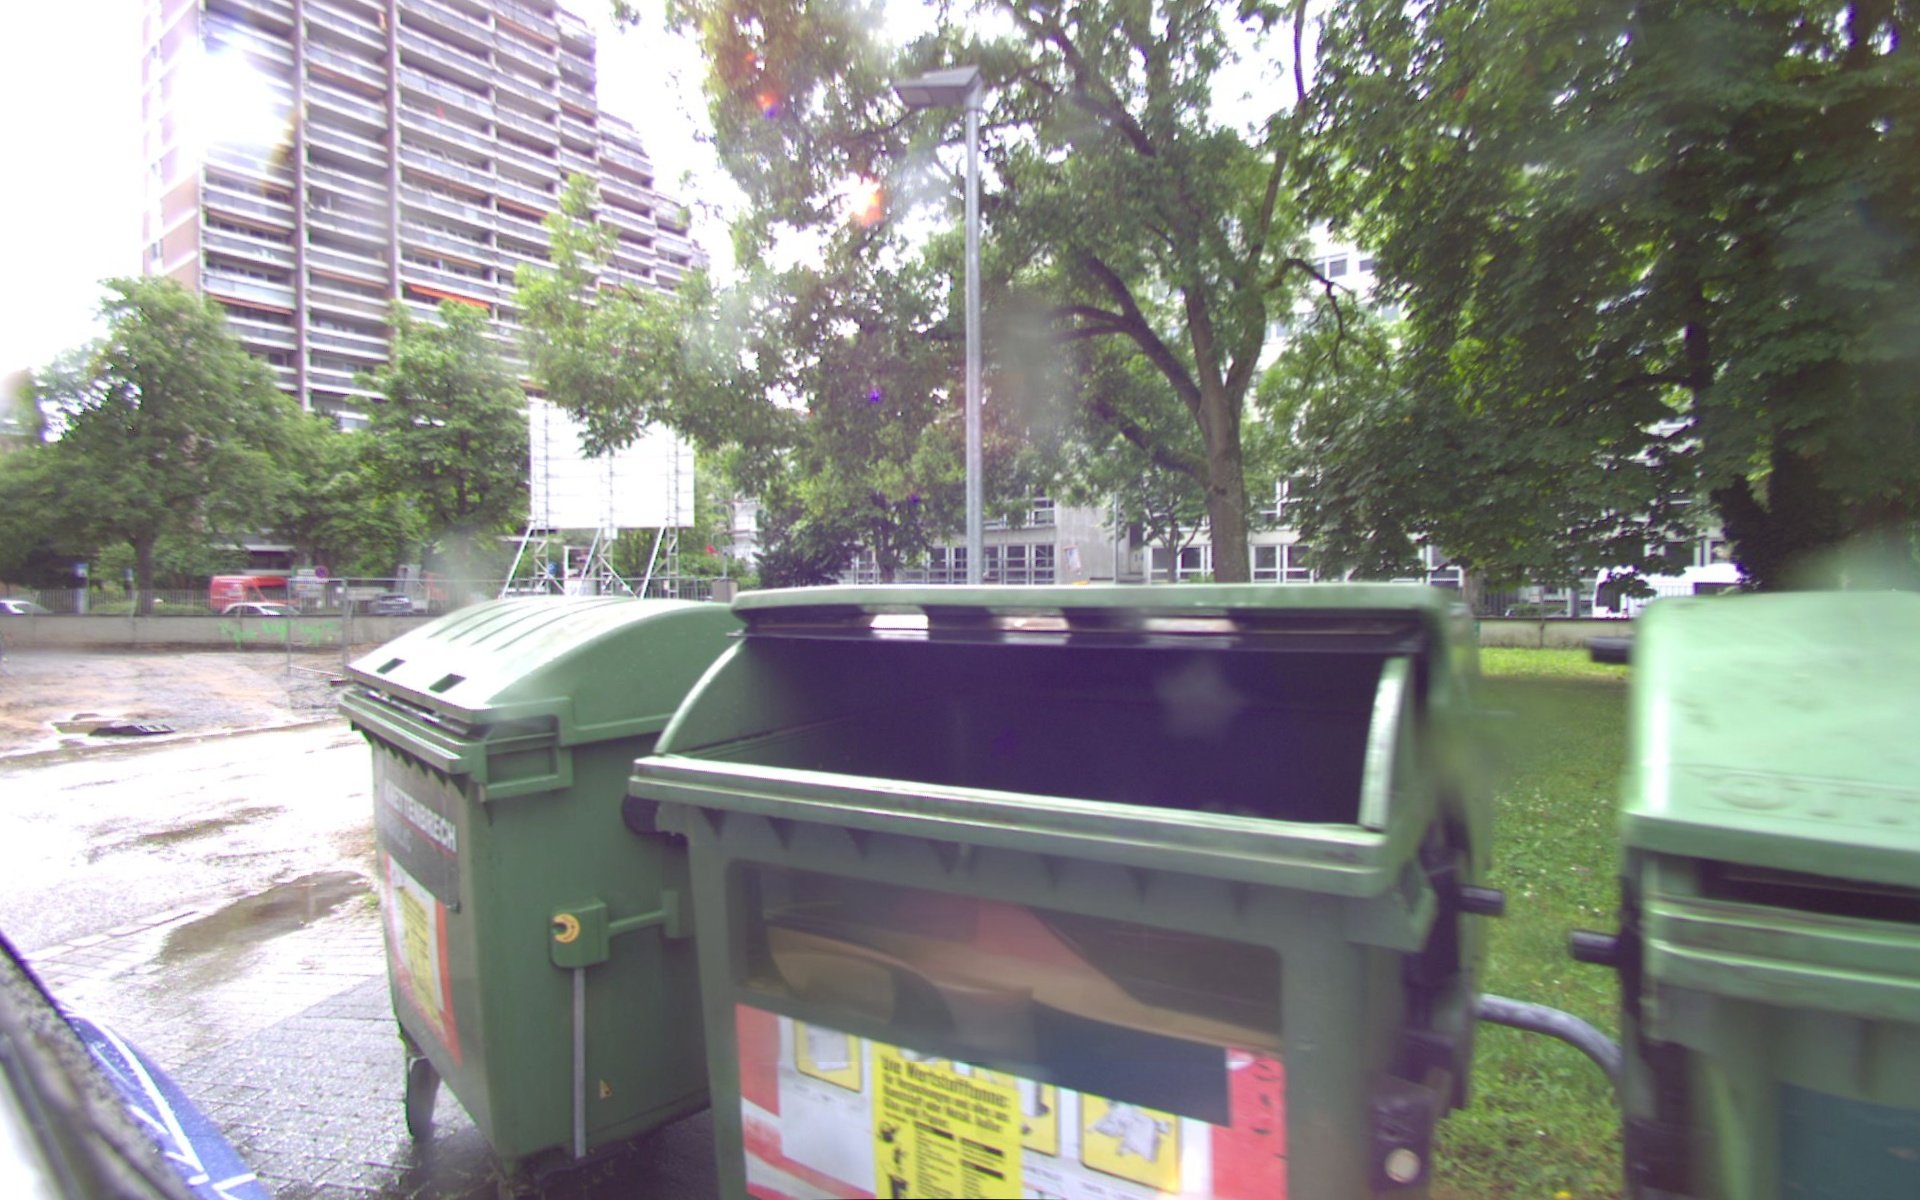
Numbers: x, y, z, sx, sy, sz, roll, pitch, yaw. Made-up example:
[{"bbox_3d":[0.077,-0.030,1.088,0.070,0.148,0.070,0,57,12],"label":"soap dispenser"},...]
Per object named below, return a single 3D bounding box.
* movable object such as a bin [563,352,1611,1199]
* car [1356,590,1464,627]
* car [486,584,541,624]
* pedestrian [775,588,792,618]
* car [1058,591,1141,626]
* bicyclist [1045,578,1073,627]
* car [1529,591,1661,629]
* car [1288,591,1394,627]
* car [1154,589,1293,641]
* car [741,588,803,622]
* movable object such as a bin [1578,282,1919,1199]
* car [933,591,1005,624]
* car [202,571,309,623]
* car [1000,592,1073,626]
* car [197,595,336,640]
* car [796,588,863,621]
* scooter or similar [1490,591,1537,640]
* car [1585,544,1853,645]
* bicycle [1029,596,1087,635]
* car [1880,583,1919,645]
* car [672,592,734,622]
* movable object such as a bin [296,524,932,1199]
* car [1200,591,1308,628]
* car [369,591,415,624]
[{"bbox_3d":[0.276,0.539,1.748,1.398,1.494,1.155,-2,0,32],"label":"movable object such as a bin"},{"bbox_3d":[19.260,0.390,43.475,1.748,1.465,3.892,0,-2,-34],"label":"car"},{"bbox_3d":[-22.676,0.178,51.338,1.905,1.911,4.658,0,0,-32],"label":"car"},{"bbox_3d":[-10.382,0.190,59.563,0.695,1.756,0.842,0,-2,-30],"label":"pedestrian"},{"bbox_3d":[6.284,0.379,45.991,1.785,1.492,3.991,0,-1,-27],"label":"car"},{"bbox_3d":[3.328,0.103,34.099,0.662,1.630,0.647,0,-2,-22],"label":"bicyclist"},{"bbox_3d":[26.139,0.429,41.792,1.783,1.464,4.218,0,-1,-33],"label":"car"},{"bbox_3d":[16.285,0.422,43.413,1.792,1.465,3.892,0,-2,-34],"label":"car"},{"bbox_3d":[7.593,0.437,29.470,3.792,1.471,1.684,0,-1,11],"label":"car"},{"bbox_3d":[-9.022,0.203,48.432,1.680,1.563,3.660,-1,1,-33],"label":"car"},{"bbox_3d":[1.401,0.513,0.891,1.399,1.494,1.155,-1,0,34],"label":"movable object such as a bin"},{"bbox_3d":[0.387,0.350,47.102,1.712,1.480,3.417,1,0,-34],"label":"car"},{"bbox_3d":[-37.430,-0.134,53.763,5.452,2.653,2.283,0,0,25],"label":"car"},{"bbox_3d":[3.438,0.376,46.030,1.681,1.463,3.418,-1,1,-31],"label":"car"},{"bbox_3d":[-24.539,0.614,35.862,3.958,1.482,1.883,-1,-1,12],"label":"car"},{"bbox_3d":[-6.181,0.212,47.701,1.713,1.480,3.660,-1,1,-34],"label":"car"},{"bbox_3d":[15.157,0.418,27.734,0.419,1.286,1.151,2,0,-15],"label":"scooter or similar"},{"bbox_3d":[19.965,-0.103,26.894,5.217,2.529,2.133,0,-1,11],"label":"car"},{"bbox_3d":[3.299,0.518,34.073,1.836,1.276,0.647,0,-1,-22],"label":"bicycle"},{"bbox_3d":[25.933,0.359,25.648,3.336,1.562,1.906,0,-1,13],"label":"car"},{"bbox_3d":[-12.647,0.314,49.696,1.740,1.407,3.659,-1,1,-35],"label":"car"},{"bbox_3d":[-0.977,0.589,2.689,1.088,1.484,1.487,-2,2,-41],"label":"movable object such as a bin"},{"bbox_3d":[12.919,0.459,44.740,1.847,1.567,4.381,1,-2,-35],"label":"car"},{"bbox_3d":[-29.897,0.350,53.201,1.756,1.577,4.057,-1,2,-35],"label":"car"}]
